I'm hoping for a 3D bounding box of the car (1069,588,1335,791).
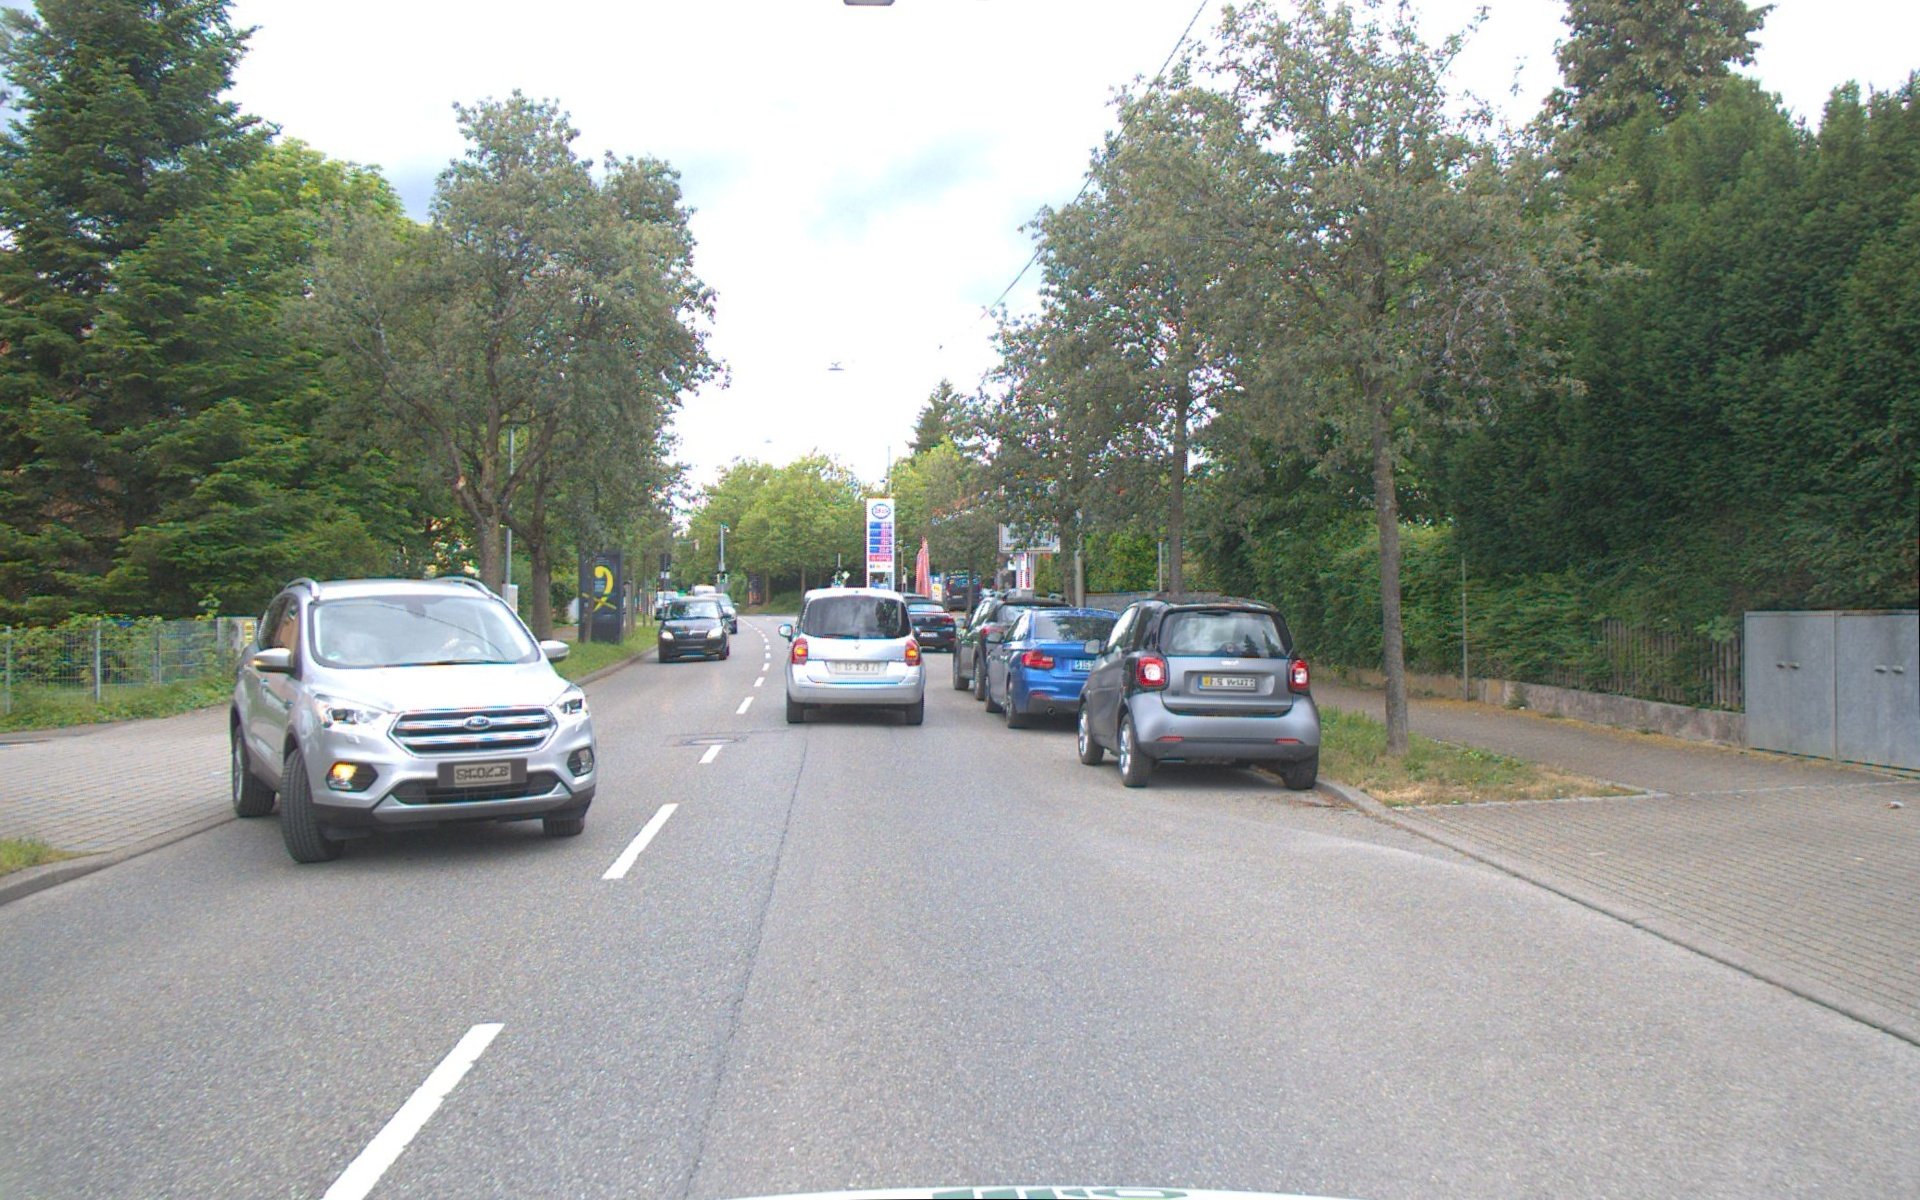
[{"bbox_3d":[2.077,0.726,15.240,1.661,1.585,3.953,1,0,-3],"label":"car"}]

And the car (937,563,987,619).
[{"bbox_3d":[0.060,-0.508,91.700,2.237,2.962,5.273,1,0,-5],"label":"car"}]

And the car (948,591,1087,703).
[{"bbox_3d":[0.830,0.680,26.079,1.662,1.598,3.950,-1,0,-6],"label":"car"}]

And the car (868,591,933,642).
[{"bbox_3d":[-1.891,0.491,51.552,1.663,1.532,3.638,0,0,-8],"label":"car"}]

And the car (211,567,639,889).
[{"bbox_3d":[-3.820,0.691,11.343,1.727,1.735,4.052,-3,2,-34],"label":"car"}]

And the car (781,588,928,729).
[{"bbox_3d":[-1.316,0.649,20.432,1.646,1.587,3.508,0,0,-4],"label":"car"}]

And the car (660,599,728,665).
[{"bbox_3d":[-6.453,0.741,40.228,1.516,1.496,3.734,-2,0,-9],"label":"car"}]

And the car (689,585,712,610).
[{"bbox_3d":[-22.218,-0.225,141.866,1.707,2.049,3.995,0,0,-5],"label":"car"}]

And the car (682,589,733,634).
[{"bbox_3d":[-9.768,0.419,64.187,1.759,1.582,3.666,-3,1,-7],"label":"car"}]

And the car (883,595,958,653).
[{"bbox_3d":[-1.145,0.628,46.263,1.663,1.532,3.965,0,0,-8],"label":"car"}]

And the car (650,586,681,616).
[{"bbox_3d":[-20.354,0.064,114.352,1.898,2.049,3.993,0,0,-7],"label":"car"}]

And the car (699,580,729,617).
[{"bbox_3d":[-16.420,-0.106,110.658,1.898,2.450,3.993,0,0,-7],"label":"car"}]

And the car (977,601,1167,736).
[{"bbox_3d":[1.280,0.772,20.634,1.664,1.458,4.335,1,0,-6],"label":"car"}]
